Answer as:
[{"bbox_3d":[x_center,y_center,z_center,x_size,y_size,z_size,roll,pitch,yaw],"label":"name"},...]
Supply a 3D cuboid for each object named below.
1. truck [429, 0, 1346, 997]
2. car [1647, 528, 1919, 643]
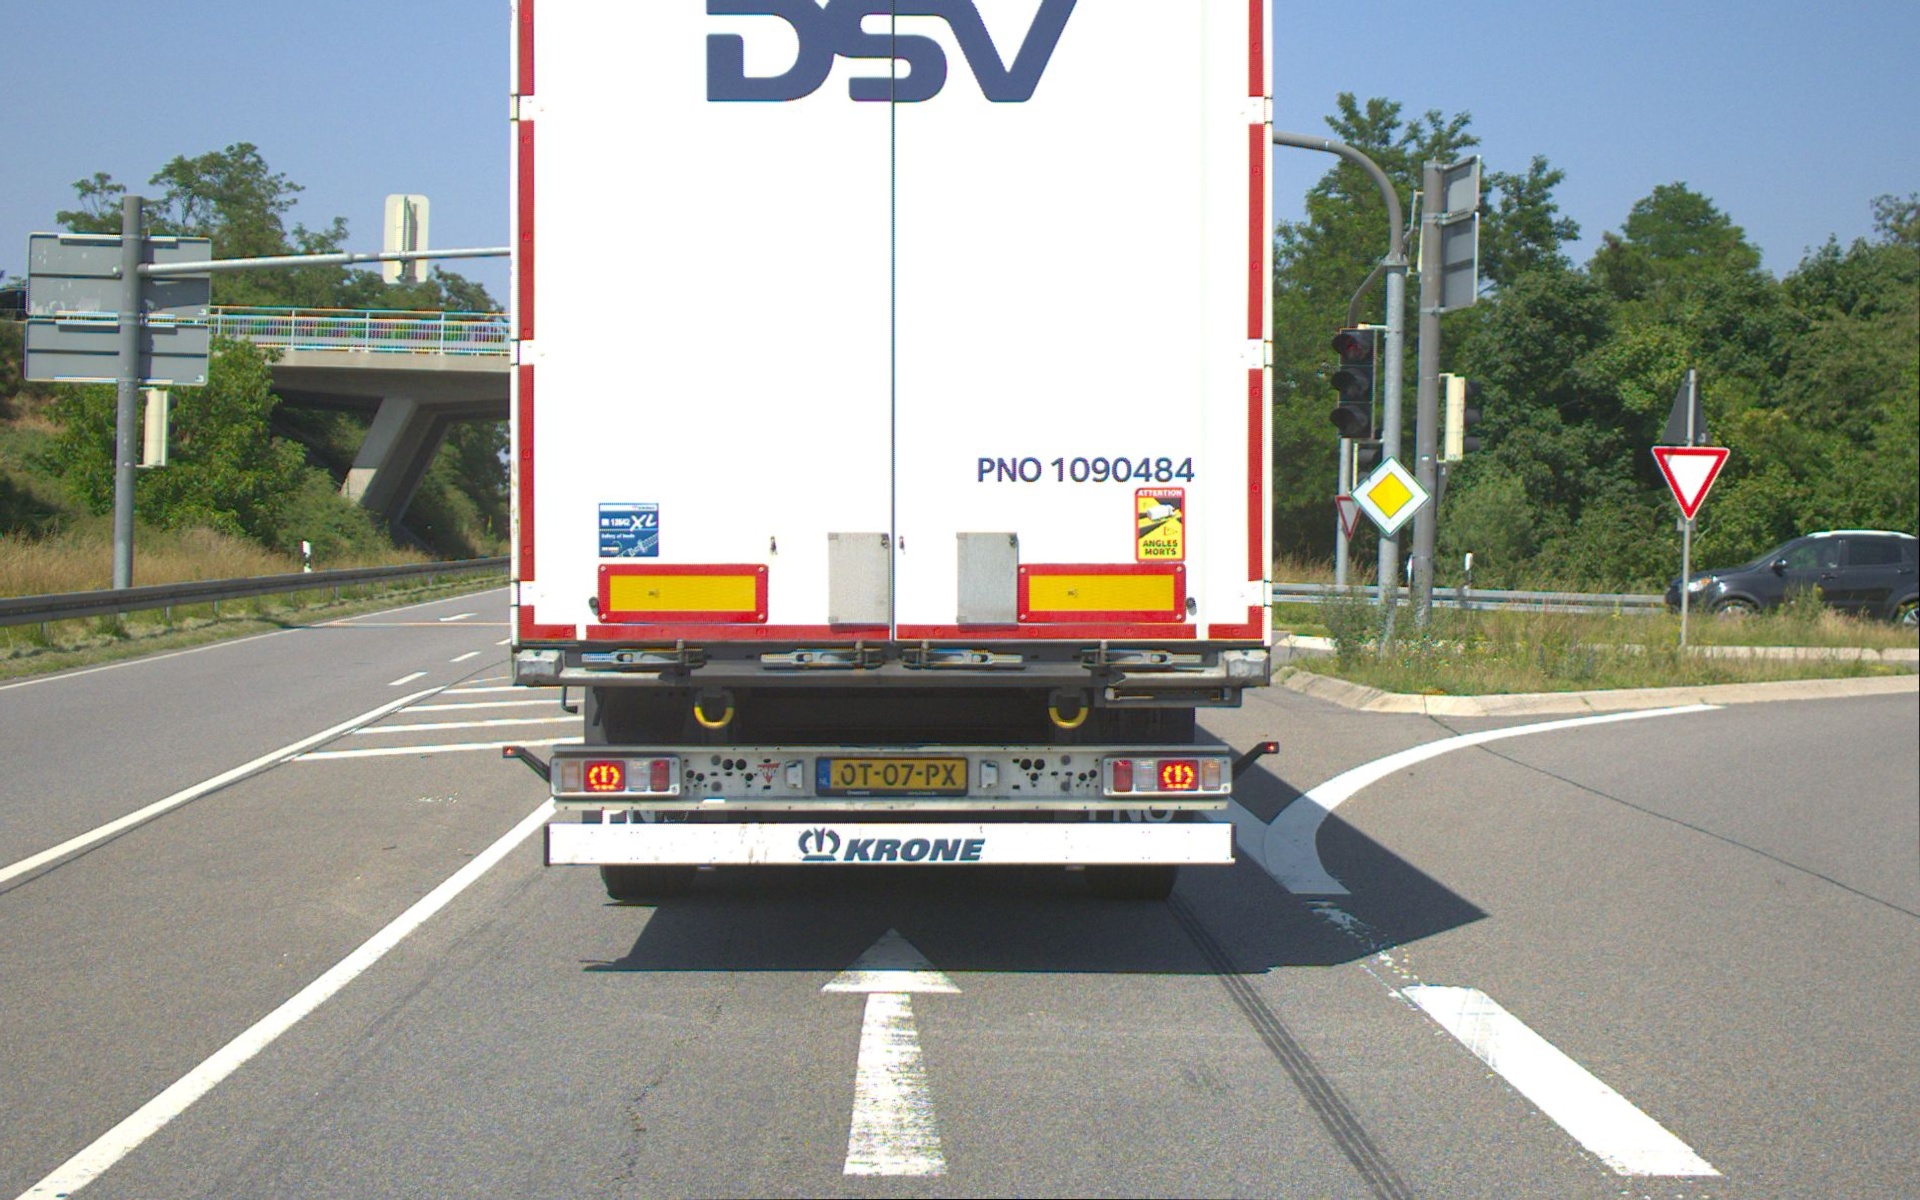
[{"bbox_3d":[-0.315,-0.747,16.231,2.987,3.928,9.876,0,1,-1],"label":"truck"},{"bbox_3d":[12.216,-0.218,50.493,3.986,1.634,1.841,1,0,6],"label":"car"}]
